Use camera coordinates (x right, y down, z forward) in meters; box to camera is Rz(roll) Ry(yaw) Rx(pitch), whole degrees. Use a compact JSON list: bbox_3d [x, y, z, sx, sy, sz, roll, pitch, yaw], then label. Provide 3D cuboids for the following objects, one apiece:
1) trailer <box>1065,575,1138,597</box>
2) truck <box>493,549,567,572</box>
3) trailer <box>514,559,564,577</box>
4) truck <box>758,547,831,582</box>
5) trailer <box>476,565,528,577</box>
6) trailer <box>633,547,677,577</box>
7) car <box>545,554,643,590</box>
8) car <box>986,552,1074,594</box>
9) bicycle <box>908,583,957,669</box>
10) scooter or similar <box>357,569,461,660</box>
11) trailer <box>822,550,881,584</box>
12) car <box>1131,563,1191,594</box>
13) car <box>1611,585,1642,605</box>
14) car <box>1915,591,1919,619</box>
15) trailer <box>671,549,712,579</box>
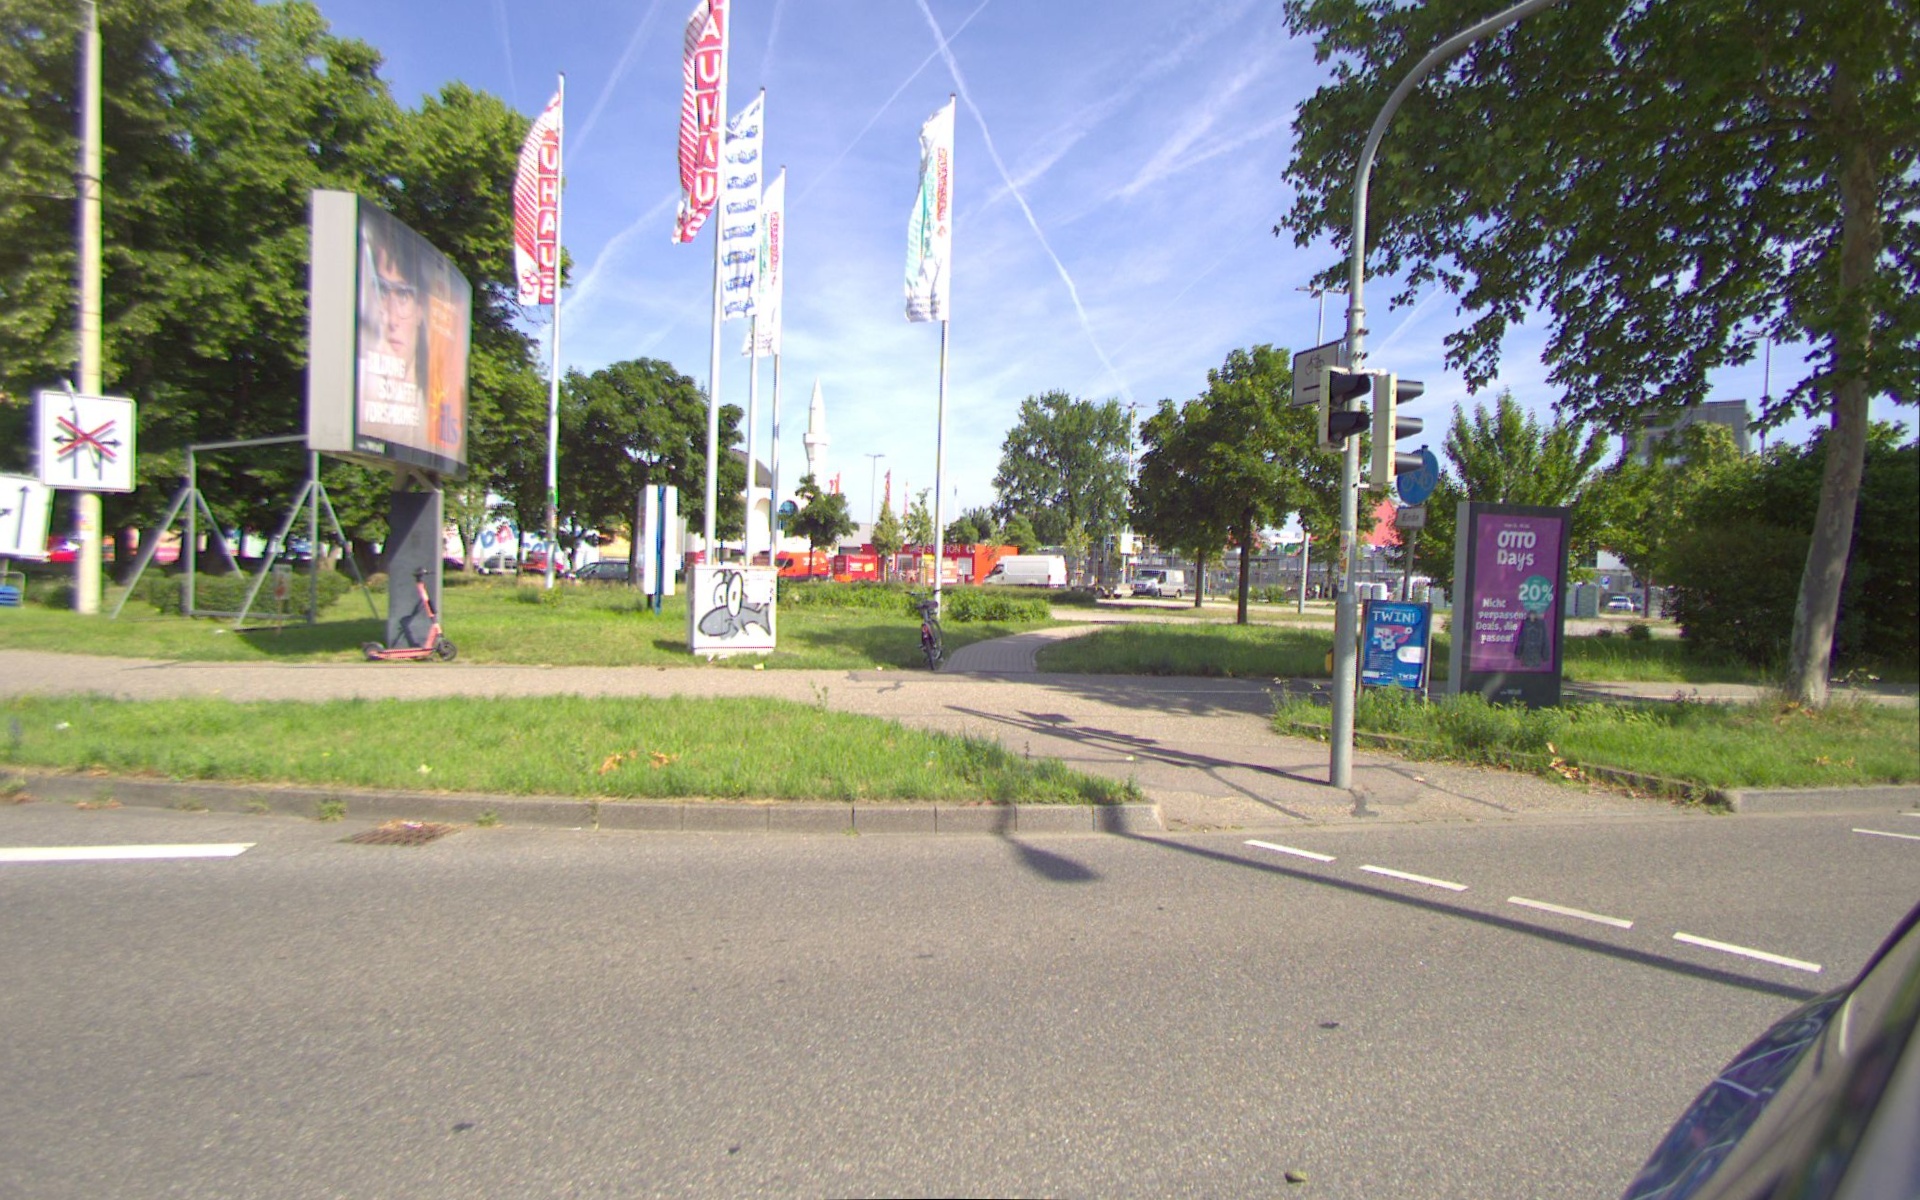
[{"bbox_3d":[8.713,-0.887,62.465,4.018,1.136,2.038,3,4,43],"label":"trailer"},{"bbox_3d":[-39.562,-3.624,93.275,2.179,1.855,5.914,0,0,42],"label":"truck"},{"bbox_3d":[-31.862,-2.428,76.516,4.388,1.303,1.569,3,2,38],"label":"trailer"},{"bbox_3d":[-13.127,-2.823,80.812,2.009,2.642,5.946,2,1,38],"label":"truck"},{"bbox_3d":[-33.451,-2.116,73.816,2.065,0.792,4.401,0,2,-44],"label":"trailer"},{"bbox_3d":[-25.891,-3.207,85.729,4.398,2.405,1.566,4,2,44],"label":"trailer"},{"bbox_3d":[-17.253,-1.307,47.771,3.980,1.606,1.728,0,2,-41],"label":"car"},{"bbox_3d":[4.512,-1.814,66.124,5.662,2.573,1.991,3,4,39],"label":"car"},{"bbox_3d":[-0.391,0.352,15.000,0.495,1.121,1.790,1,3,5],"label":"bicycle"},{"bbox_3d":[-7.118,0.180,13.103,1.100,1.140,0.427,1,1,-14],"label":"scooter or similar"},{"bbox_3d":[-8.282,-2.492,77.596,1.747,2.406,4.341,4,2,44],"label":"trailer"},{"bbox_3d":[13.299,-1.419,66.789,1.866,1.838,4.763,4,2,38],"label":"car"},{"bbox_3d":[55.947,-0.427,84.906,1.683,1.593,3.941,2,2,40],"label":"car"},{"bbox_3d":[57.918,0.313,59.997,1.683,1.593,3.941,2,2,40],"label":"car"},{"bbox_3d":[-23.257,-3.143,87.556,1.525,2.387,4.403,1,2,-43],"label":"trailer"}]
